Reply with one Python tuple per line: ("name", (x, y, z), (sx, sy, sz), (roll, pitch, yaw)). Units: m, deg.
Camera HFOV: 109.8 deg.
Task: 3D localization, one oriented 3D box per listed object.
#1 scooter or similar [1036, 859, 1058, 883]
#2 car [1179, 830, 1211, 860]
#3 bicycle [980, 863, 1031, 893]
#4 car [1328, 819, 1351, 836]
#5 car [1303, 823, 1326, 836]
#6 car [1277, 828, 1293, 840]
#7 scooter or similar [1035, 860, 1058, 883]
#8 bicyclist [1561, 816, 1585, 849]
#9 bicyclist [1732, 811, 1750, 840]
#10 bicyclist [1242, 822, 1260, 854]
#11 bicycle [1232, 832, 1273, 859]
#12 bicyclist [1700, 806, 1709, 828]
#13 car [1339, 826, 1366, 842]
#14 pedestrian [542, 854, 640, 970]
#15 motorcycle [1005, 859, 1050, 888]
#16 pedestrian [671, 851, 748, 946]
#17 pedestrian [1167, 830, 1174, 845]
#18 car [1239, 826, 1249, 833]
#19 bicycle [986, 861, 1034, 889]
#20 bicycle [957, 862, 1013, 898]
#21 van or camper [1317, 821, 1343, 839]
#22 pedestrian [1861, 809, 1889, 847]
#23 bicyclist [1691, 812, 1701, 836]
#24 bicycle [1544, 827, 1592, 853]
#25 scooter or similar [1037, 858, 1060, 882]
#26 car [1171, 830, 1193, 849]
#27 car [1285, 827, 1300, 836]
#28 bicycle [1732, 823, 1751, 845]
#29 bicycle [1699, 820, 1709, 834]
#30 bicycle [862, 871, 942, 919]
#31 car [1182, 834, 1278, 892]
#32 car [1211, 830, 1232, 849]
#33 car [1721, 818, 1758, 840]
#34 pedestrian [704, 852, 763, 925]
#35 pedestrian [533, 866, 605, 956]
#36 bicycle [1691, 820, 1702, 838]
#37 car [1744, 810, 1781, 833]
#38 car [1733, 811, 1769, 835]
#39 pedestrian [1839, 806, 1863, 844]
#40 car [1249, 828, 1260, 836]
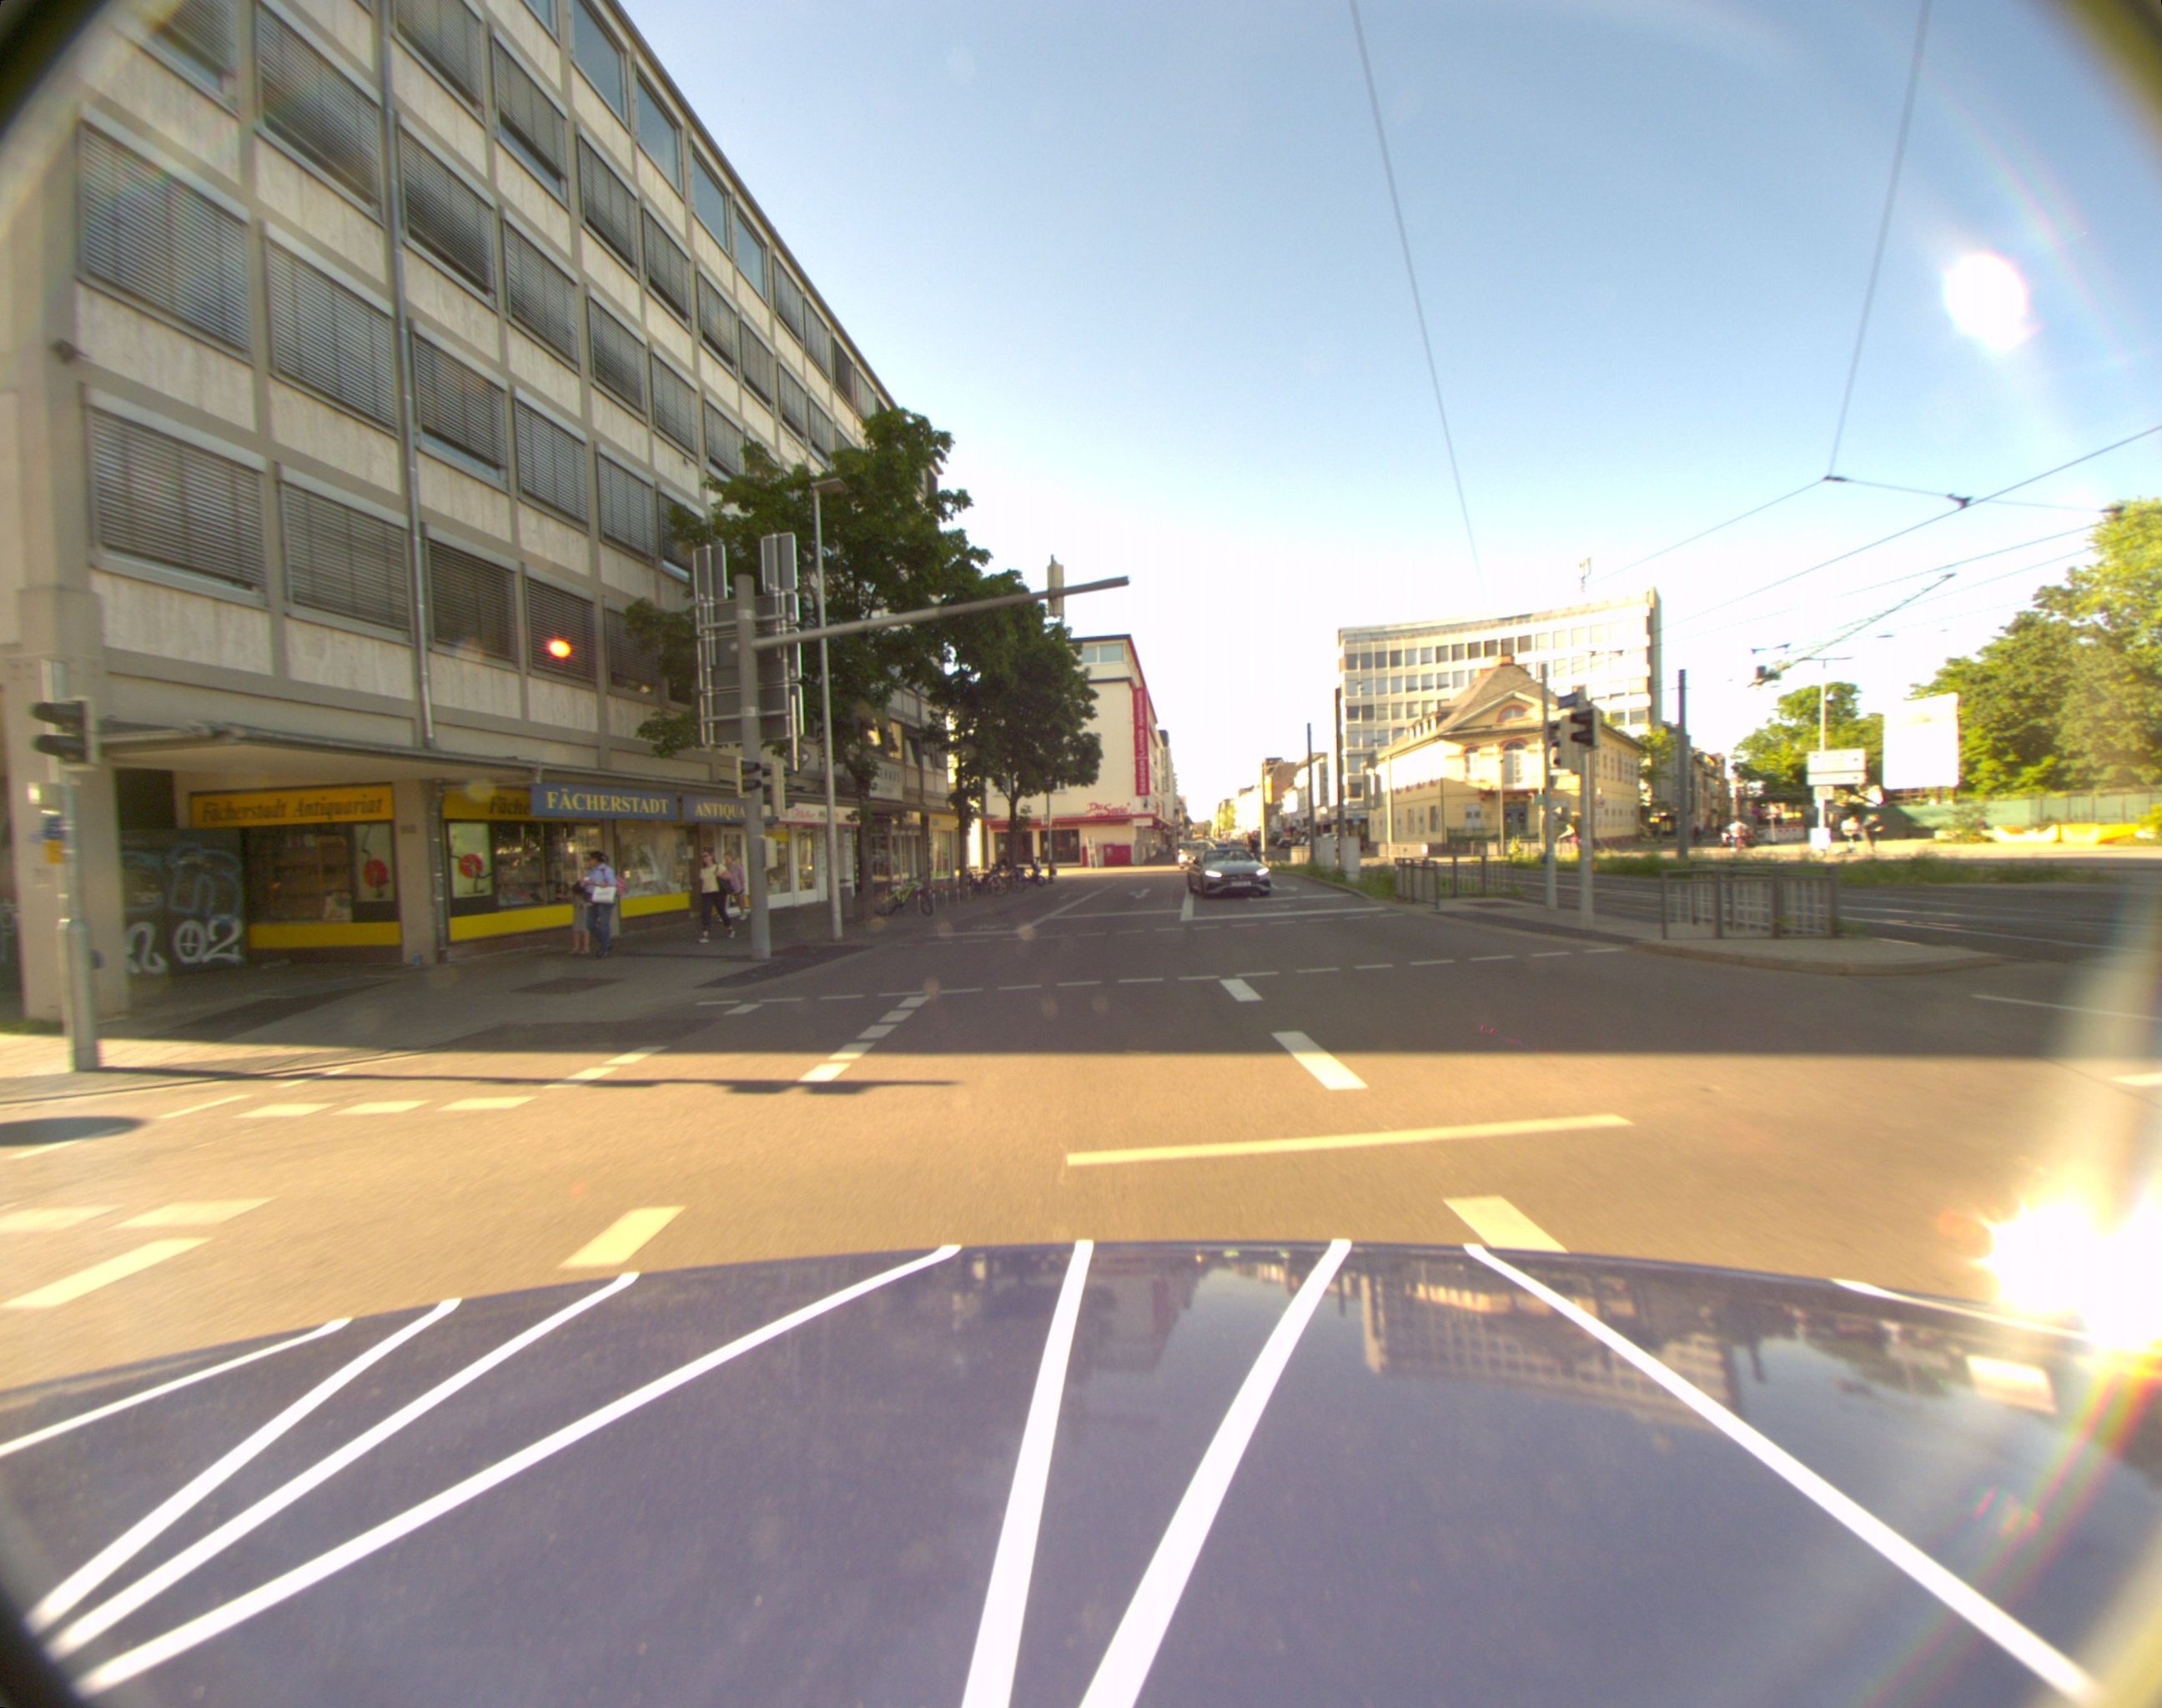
("scooter or similar", (-1.520, 0.773, 34.243), (0.957, 1.033, 0.160), (-1, 2, 13))
("car", (6.745, -0.554, 44.797), (1.736, 1.654, 3.962), (0, 2, 9))
("bicycle", (-2.796, 0.877, 28.012), (1.769, 1.051, 0.458), (-2, 3, 16))
("car", (27.712, -2.868, 81.628), (1.780, 1.611, 4.178), (-3, 2, 12))
("car", (30.954, -3.258, 100.818), (1.930, 1.444, 4.293), (-4, 2, 5))
("car", (28.162, -2.810, 104.992), (1.688, 1.552, 4.123), (-2, 2, 9))
("scooter or similar", (-1.554, 0.790, 34.045), (0.965, 1.021, 0.160), (-1, 2, 13))
("bicyclist", (24.911, -1.077, 38.489), (0.591, 1.639, 0.804), (-4, 1, -31))
("bicyclist", (34.128, -1.476, 39.271), (0.664, 1.446, 0.732), (0, 4, 44))
("bicyclist", (8.274, -0.789, 37.006), (0.683, 1.515, 0.634), (-3, 3, -3))
("bicycle", (8.358, -0.428, 37.031), (1.825, 1.205, 0.641), (-3, 2, -3))
("bicyclist", (48.399, -2.869, 59.004), (0.521, 1.664, 0.771), (0, 3, 42))
("car", (27.169, -2.029, 76.102), (1.780, 1.431, 3.962), (-3, 2, 10))
("pedestrian", (-7.723, 0.881, 12.021), (0.879, 1.712, 0.845), (-3, 3, 0))
("motorcycle", (-2.256, 0.811, 32.003), (1.790, 1.123, 0.504), (-2, 3, 11))
("pedestrian", (-7.017, 0.822, 14.397), (0.844, 1.698, 0.880), (-2, 3, 10))
("pedestrian", (11.598, -2.152, 98.343), (0.737, 1.808, 0.749), (-2, 3, 7))
("car", (36.446, -5.479, 169.795), (1.780, 1.501, 3.861), (-1, 2, 8))
("bicycle", (-2.792, 0.823, 29.934), (1.855, 1.050, 0.399), (-1, 3, 0))
("bicycle", (-3.273, 0.891, 26.024), (1.813, 1.145, 0.435), (-1, 3, 6))
("van or camper", (28.663, -2.774, 87.481), (1.958, 1.962, 4.798), (-3, 2, 8))
("pedestrian", (39.001, -1.272, 37.338), (0.705, 1.841, 0.740), (-2, 3, 21))
("bicyclist", (44.502, -2.162, 55.016), (0.521, 1.664, 0.771), (-1, 3, 36))
("bicycle", (24.779, -0.713, 38.693), (0.576, 1.284, 2.021), (-4, 3, -32))
("scooter or similar", (-1.475, 0.732, 34.434), (0.965, 1.037, 0.160), (-1, 2, 13))
("car", (8.741, -1.270, 65.680), (1.780, 1.560, 3.962), (0, 2, 9))
("car", (34.399, -3.654, 123.770), (1.785, 1.409, 3.598), (-2, 2, 7))
("bicycle", (34.092, -1.035, 39.209), (0.650, 1.008, 1.888), (0, 3, 45))
("bicycle", (48.433, -2.085, 59.040), (0.530, 1.008, 1.888), (0, 3, 42))
("bicycle", (-4.497, 1.014, 19.112), (1.893, 1.150, 0.480), (0, 3, 11))
("car", (4.245, 0.172, 22.392), (1.869, 1.431, 4.772), (-2, 2, 0))
("car", (12.773, -1.352, 69.076), (1.782, 1.654, 3.962), (0, 2, 9))
("car", (43.837, -1.676, 50.542), (1.646, 1.339, 3.766), (0, 3, 45))
("pedestrian", (-8.124, 0.788, 17.792), (0.845, 1.593, 0.880), (-2, 2, 5))
("pedestrian", (-8.476, 0.936, 12.595), (0.646, 1.414, 0.621), (-2, 3, 12))
("bicycle", (44.458, -1.806, 54.893), (0.530, 1.207, 1.888), (-1, 3, 37))
("car", (55.282, -2.664, 61.633), (3.762, 1.661, 1.797), (-4, 3, -41))
("car", (51.481, -2.367, 58.348), (3.762, 1.661, 1.797), (-5, 3, -44))
("pedestrian", (38.096, -1.441, 37.577), (0.594, 1.807, 0.705), (-2, 3, 21))
("car", (33.950, -4.336, 148.995), (1.780, 1.501, 4.671), (-1, 2, 8))
